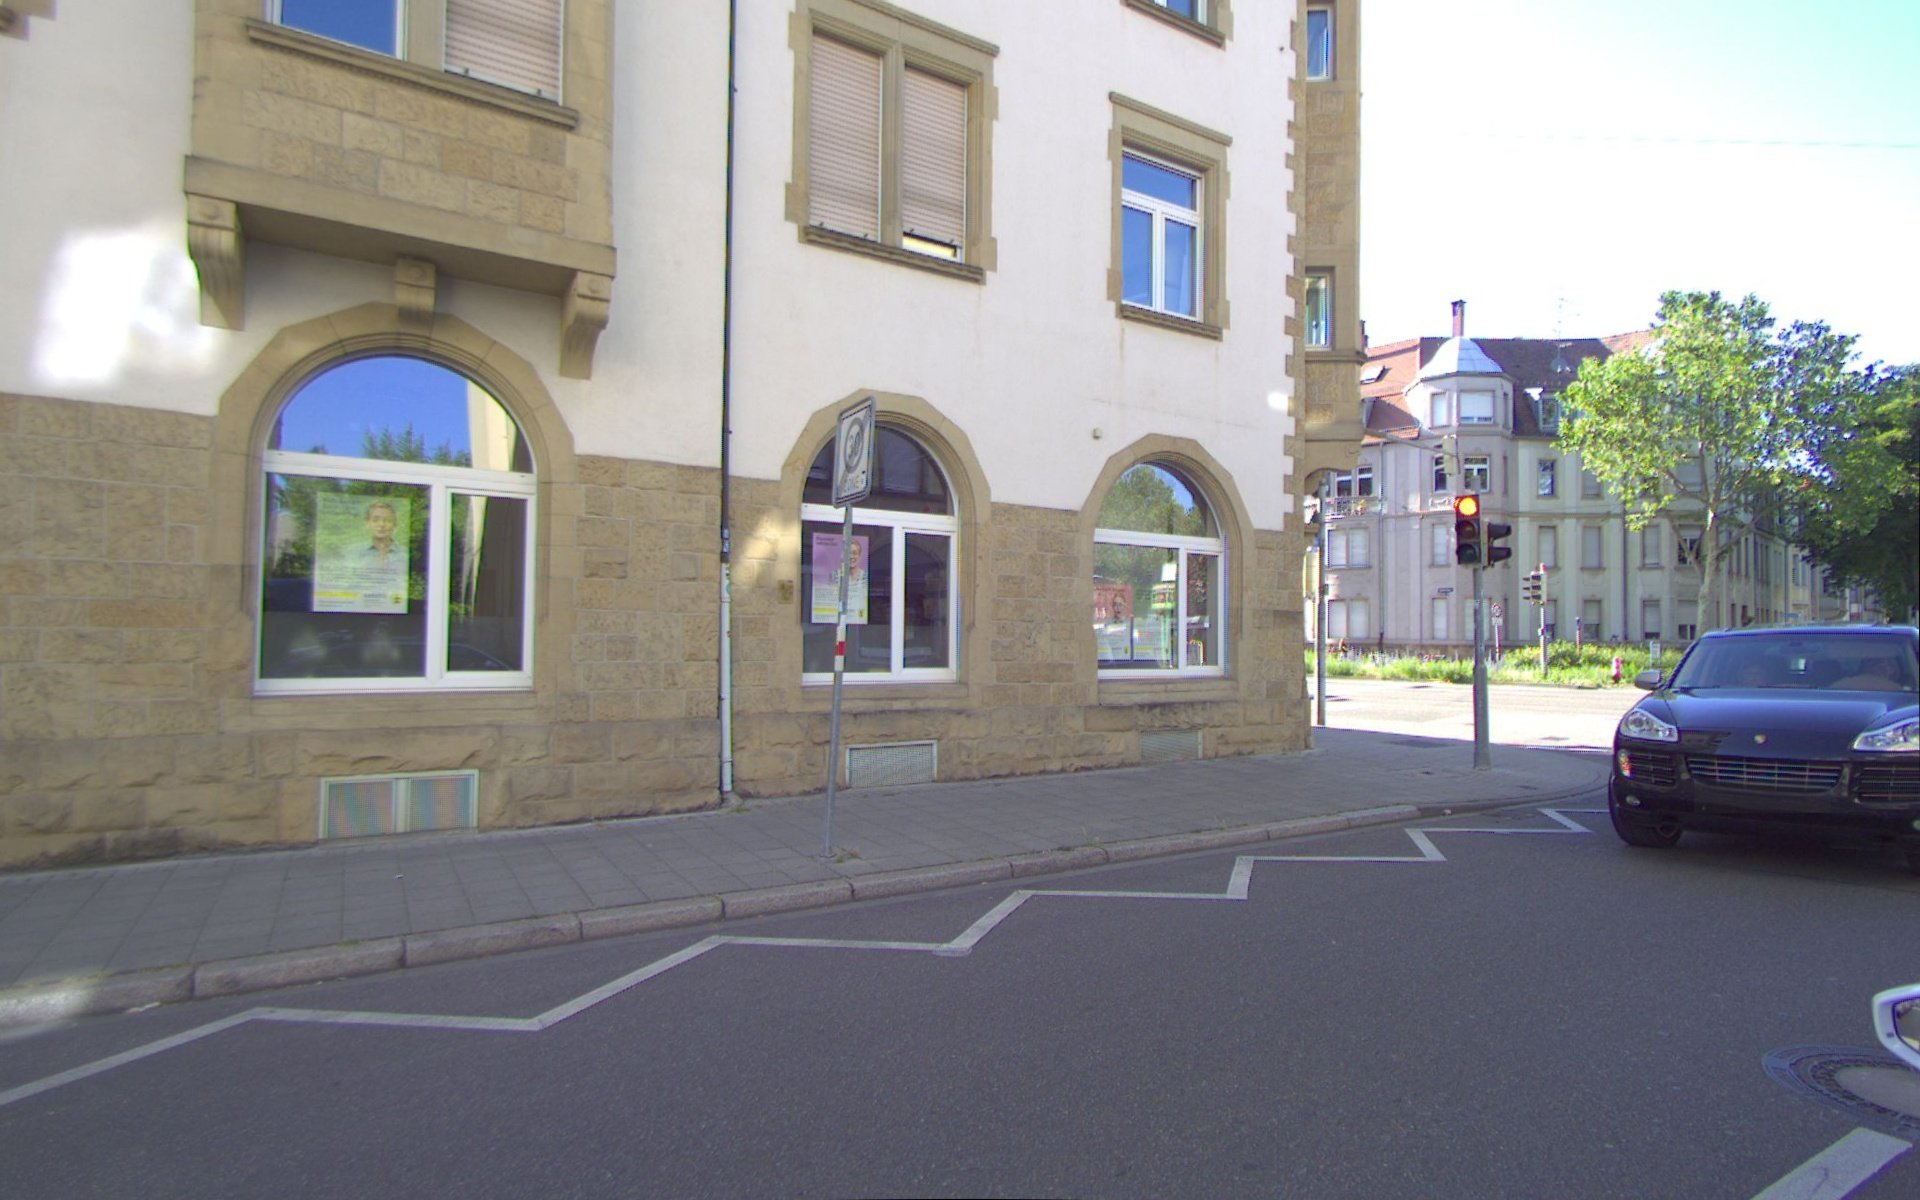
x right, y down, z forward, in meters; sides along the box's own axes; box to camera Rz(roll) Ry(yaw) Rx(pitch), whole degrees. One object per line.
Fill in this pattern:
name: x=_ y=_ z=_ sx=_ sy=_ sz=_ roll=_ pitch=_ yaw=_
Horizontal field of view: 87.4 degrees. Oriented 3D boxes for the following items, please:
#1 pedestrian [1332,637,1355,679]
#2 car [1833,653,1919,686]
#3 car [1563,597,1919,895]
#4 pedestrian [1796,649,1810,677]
pedestrian: x=19.374 y=2.906 z=50.718 sx=0.826 sy=2.040 sz=0.748 roll=2 pitch=0 yaw=44
car: x=45.463 y=3.401 z=49.510 sx=1.647 sy=1.476 sz=3.595 roll=2 pitch=-2 yaw=-44
car: x=6.689 y=0.977 z=8.017 sx=4.677 sy=1.715 sz=2.053 roll=3 pitch=-5 yaw=-44
pedestrian: x=45.852 y=3.412 z=54.616 sx=0.483 sy=1.461 sz=0.701 roll=2 pitch=0 yaw=45
